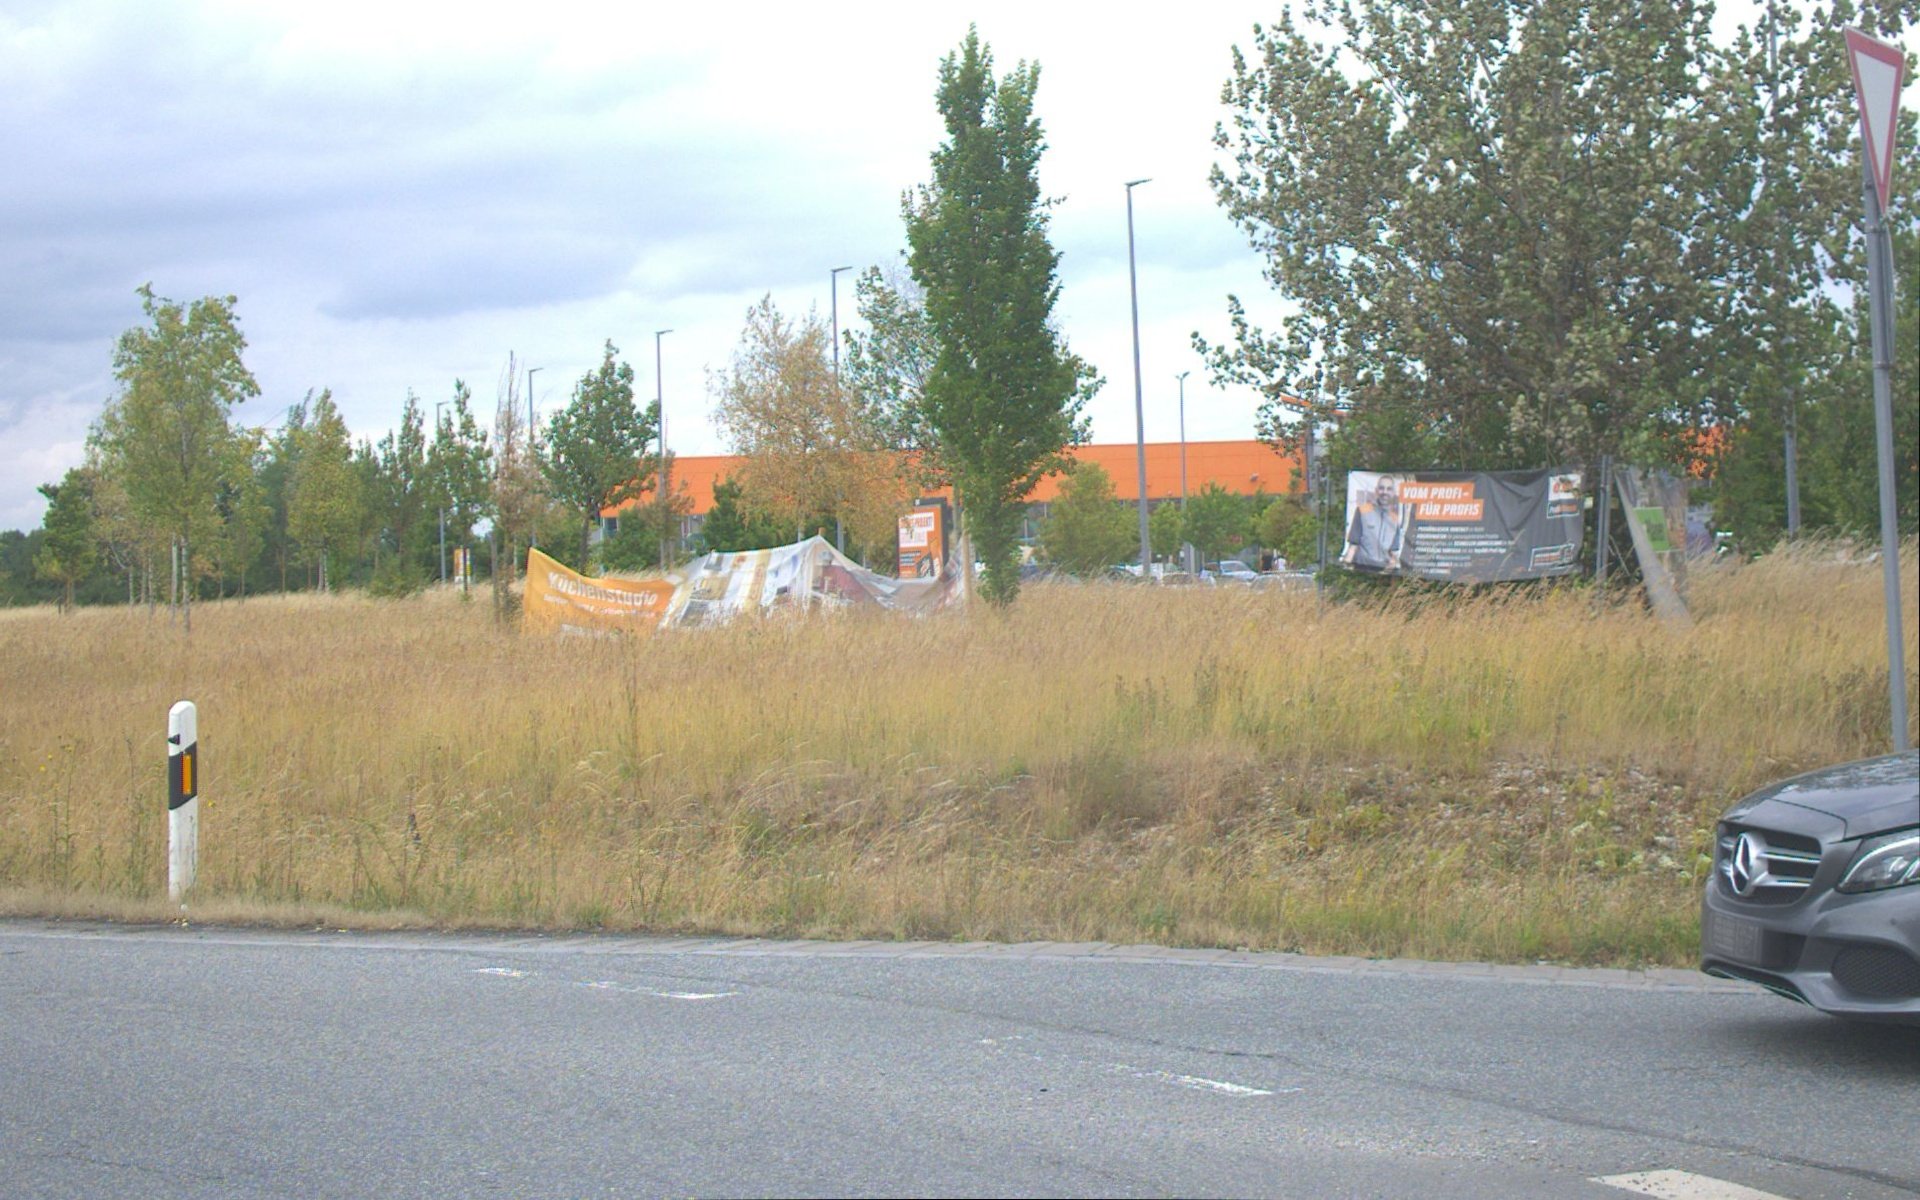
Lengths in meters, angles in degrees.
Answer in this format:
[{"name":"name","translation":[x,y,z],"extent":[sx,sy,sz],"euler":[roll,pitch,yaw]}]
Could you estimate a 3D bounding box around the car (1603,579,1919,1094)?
[{"name":"car","translation":[4.544,0.635,10.574],"extent":[4.671,1.399,1.929],"euler":[0,0,-7]}]
